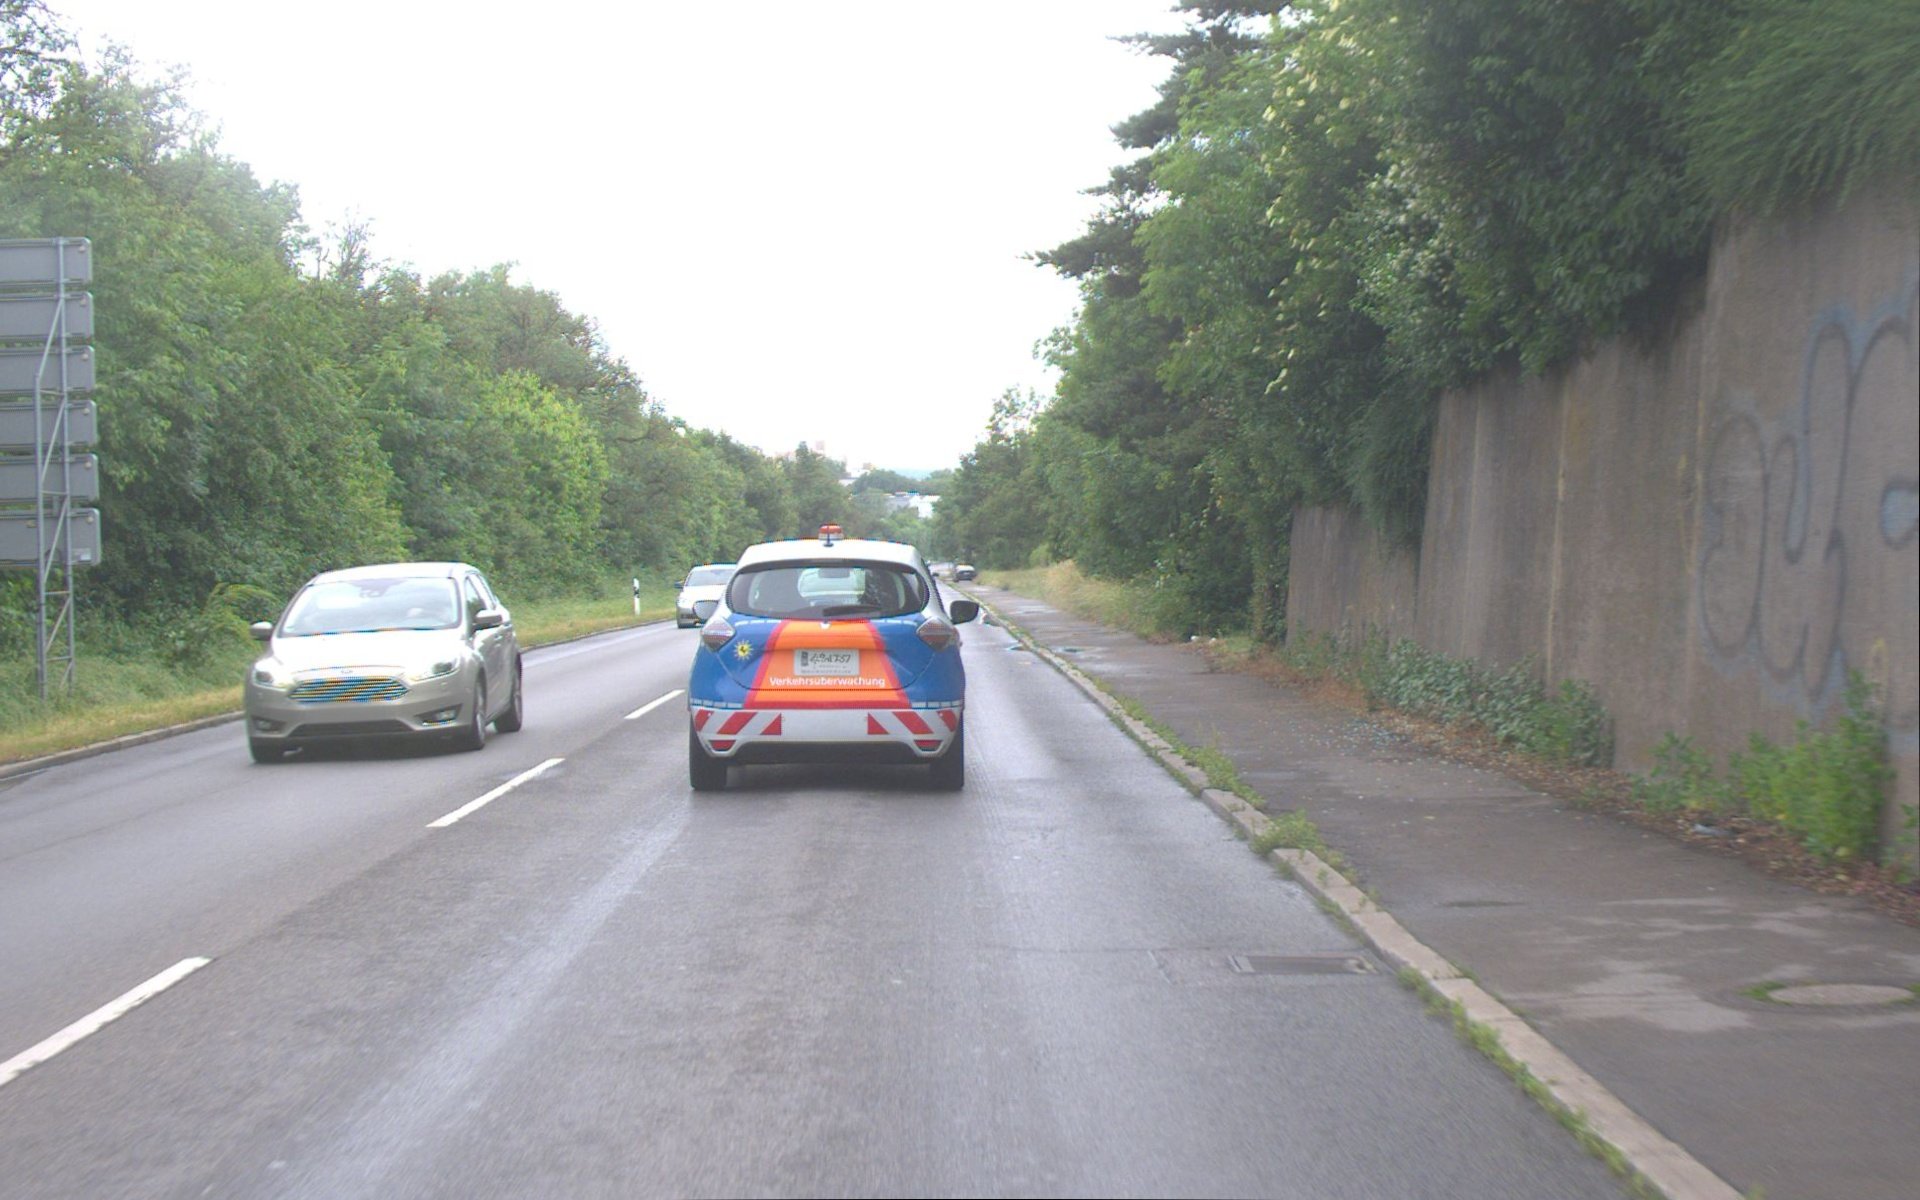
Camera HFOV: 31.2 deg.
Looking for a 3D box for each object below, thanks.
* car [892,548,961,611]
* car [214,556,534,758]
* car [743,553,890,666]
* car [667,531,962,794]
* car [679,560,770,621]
[{"bbox_3d":[-0.942,-0.584,95.619,1.772,1.619,4.001,-2,1,-2],"label":"car"},{"bbox_3d":[-4.602,0.393,27.597,1.825,1.415,4.320,-1,1,0],"label":"car"},{"bbox_3d":[-1.702,0.101,41.732,1.598,1.282,3.476,-1,0,0],"label":"car"},{"bbox_3d":[-0.893,0.338,22.465,1.752,1.550,3.793,0,1,-1],"label":"car"},{"bbox_3d":[-5.357,-0.239,78.700,1.891,1.350,4.382,0,1,-2],"label":"car"}]
